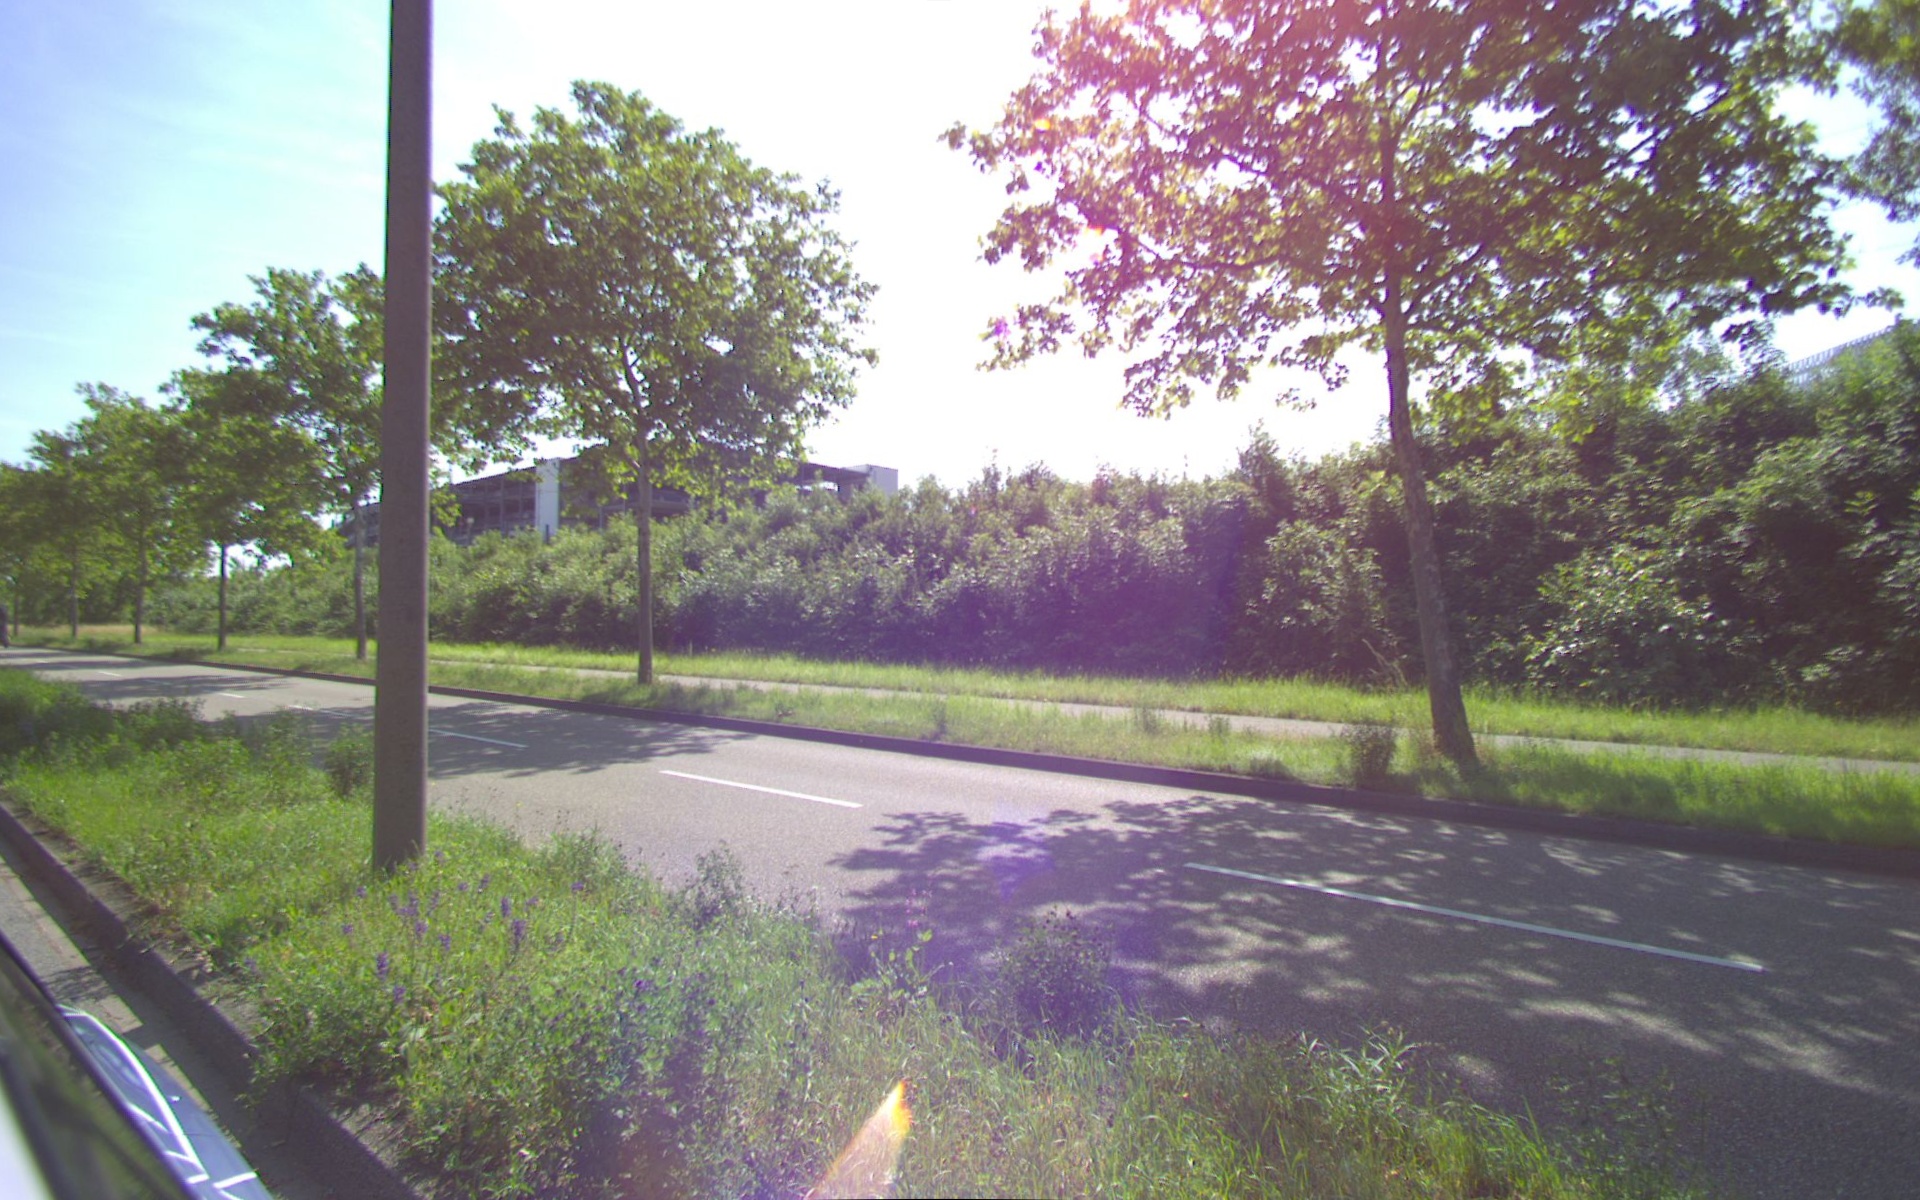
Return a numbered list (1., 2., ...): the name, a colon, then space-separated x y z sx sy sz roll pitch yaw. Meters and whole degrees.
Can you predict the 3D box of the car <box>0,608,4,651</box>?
1. car: -56.622 1.694 58.016 5.536 2.428 2.037 -1 -2 41
